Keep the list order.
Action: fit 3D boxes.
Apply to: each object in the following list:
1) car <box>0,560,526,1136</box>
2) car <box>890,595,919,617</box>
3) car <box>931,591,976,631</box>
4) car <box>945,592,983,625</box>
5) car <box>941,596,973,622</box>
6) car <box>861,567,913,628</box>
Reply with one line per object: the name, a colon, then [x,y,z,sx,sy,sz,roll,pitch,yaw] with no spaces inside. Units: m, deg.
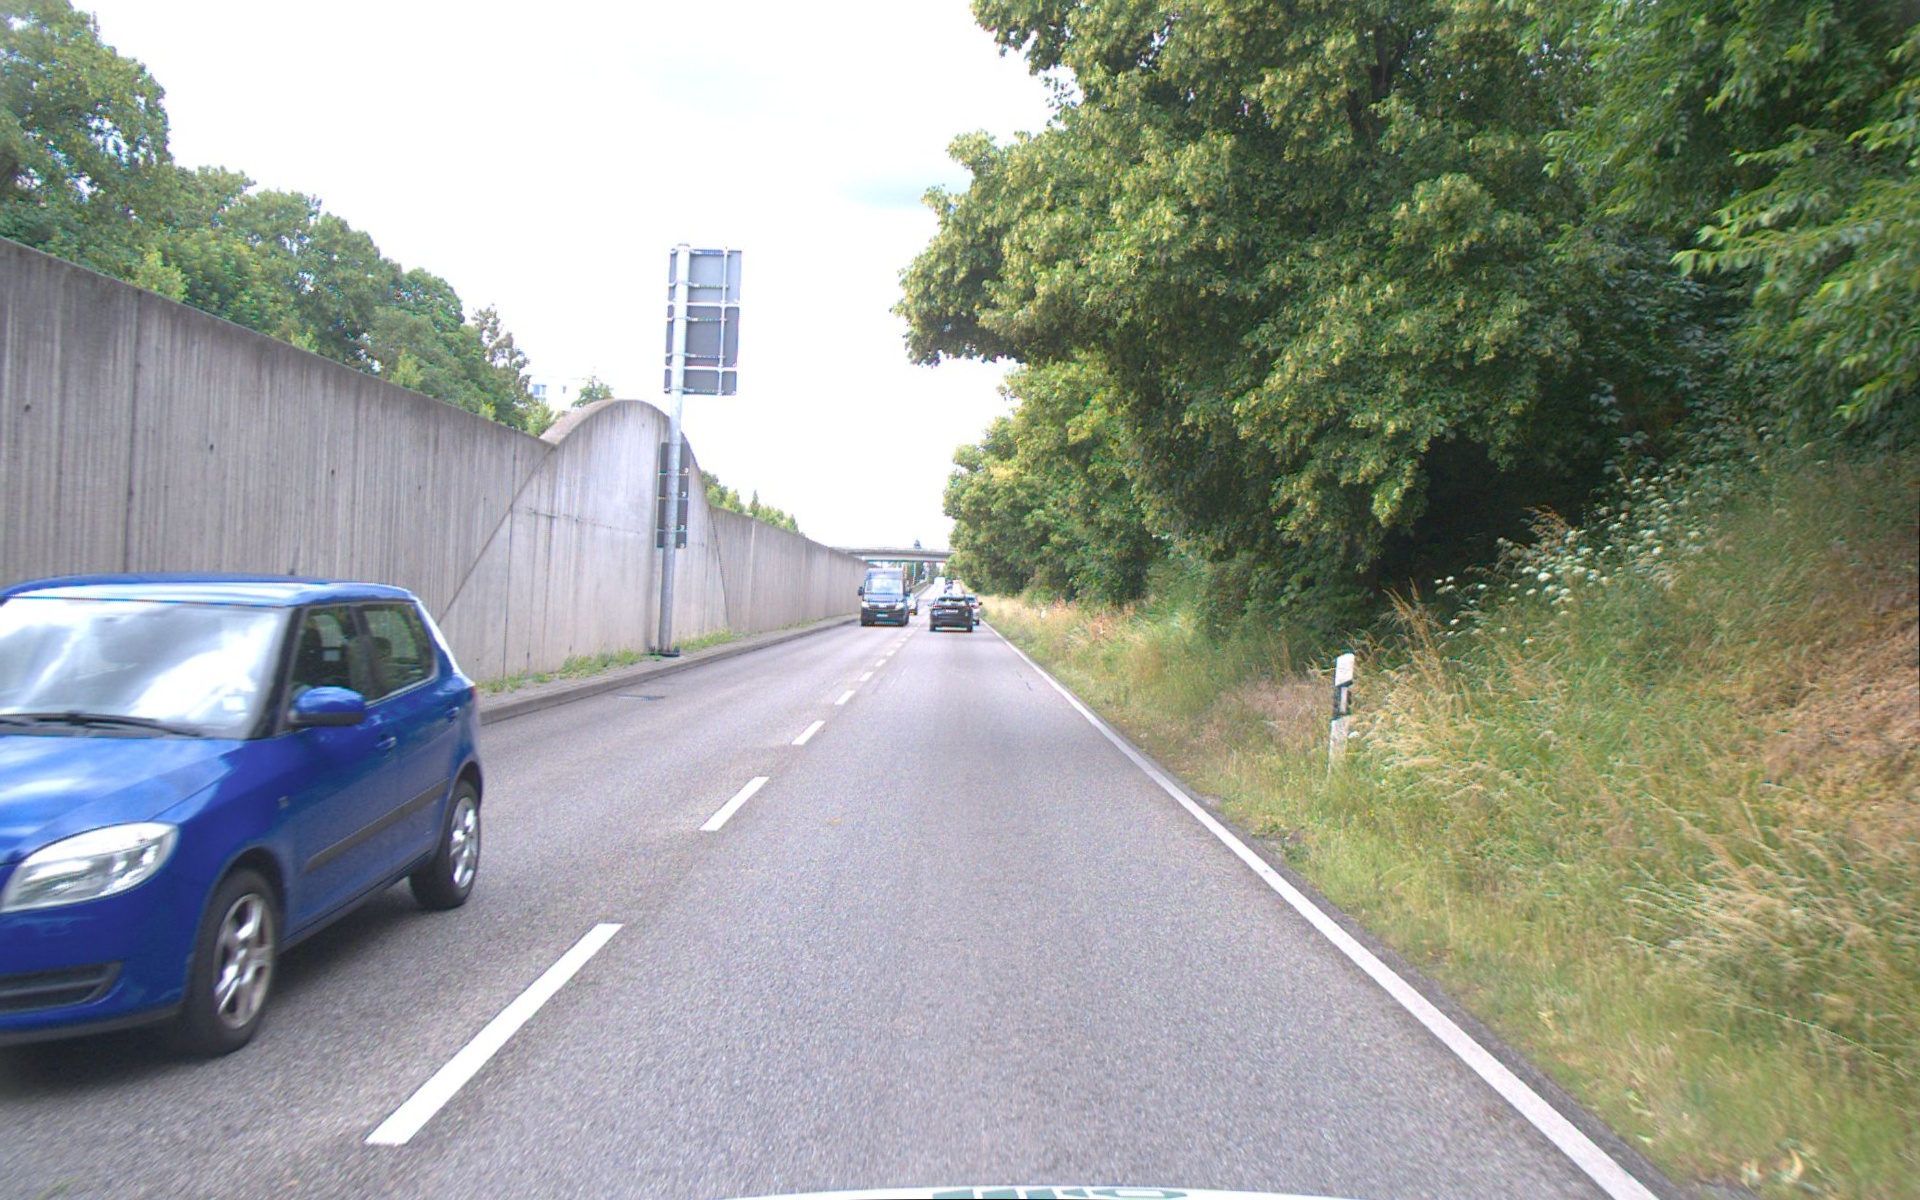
car: [-3.085,0.626,6.473,1.732,1.522,4.207,2,0,-2]
car: [-3.856,0.408,116.209,1.854,1.509,4.822,1,0,0]
car: [-0.284,0.454,67.006,1.719,1.550,4.035,-1,0,-2]
car: [0.164,0.439,83.215,1.719,1.550,4.034,-1,-2,-2]
car: [-0.195,0.577,105.796,1.829,1.516,4.255,4,0,-2]
car: [-3.324,-0.135,76.518,2.066,2.676,7.416,1,0,0]
